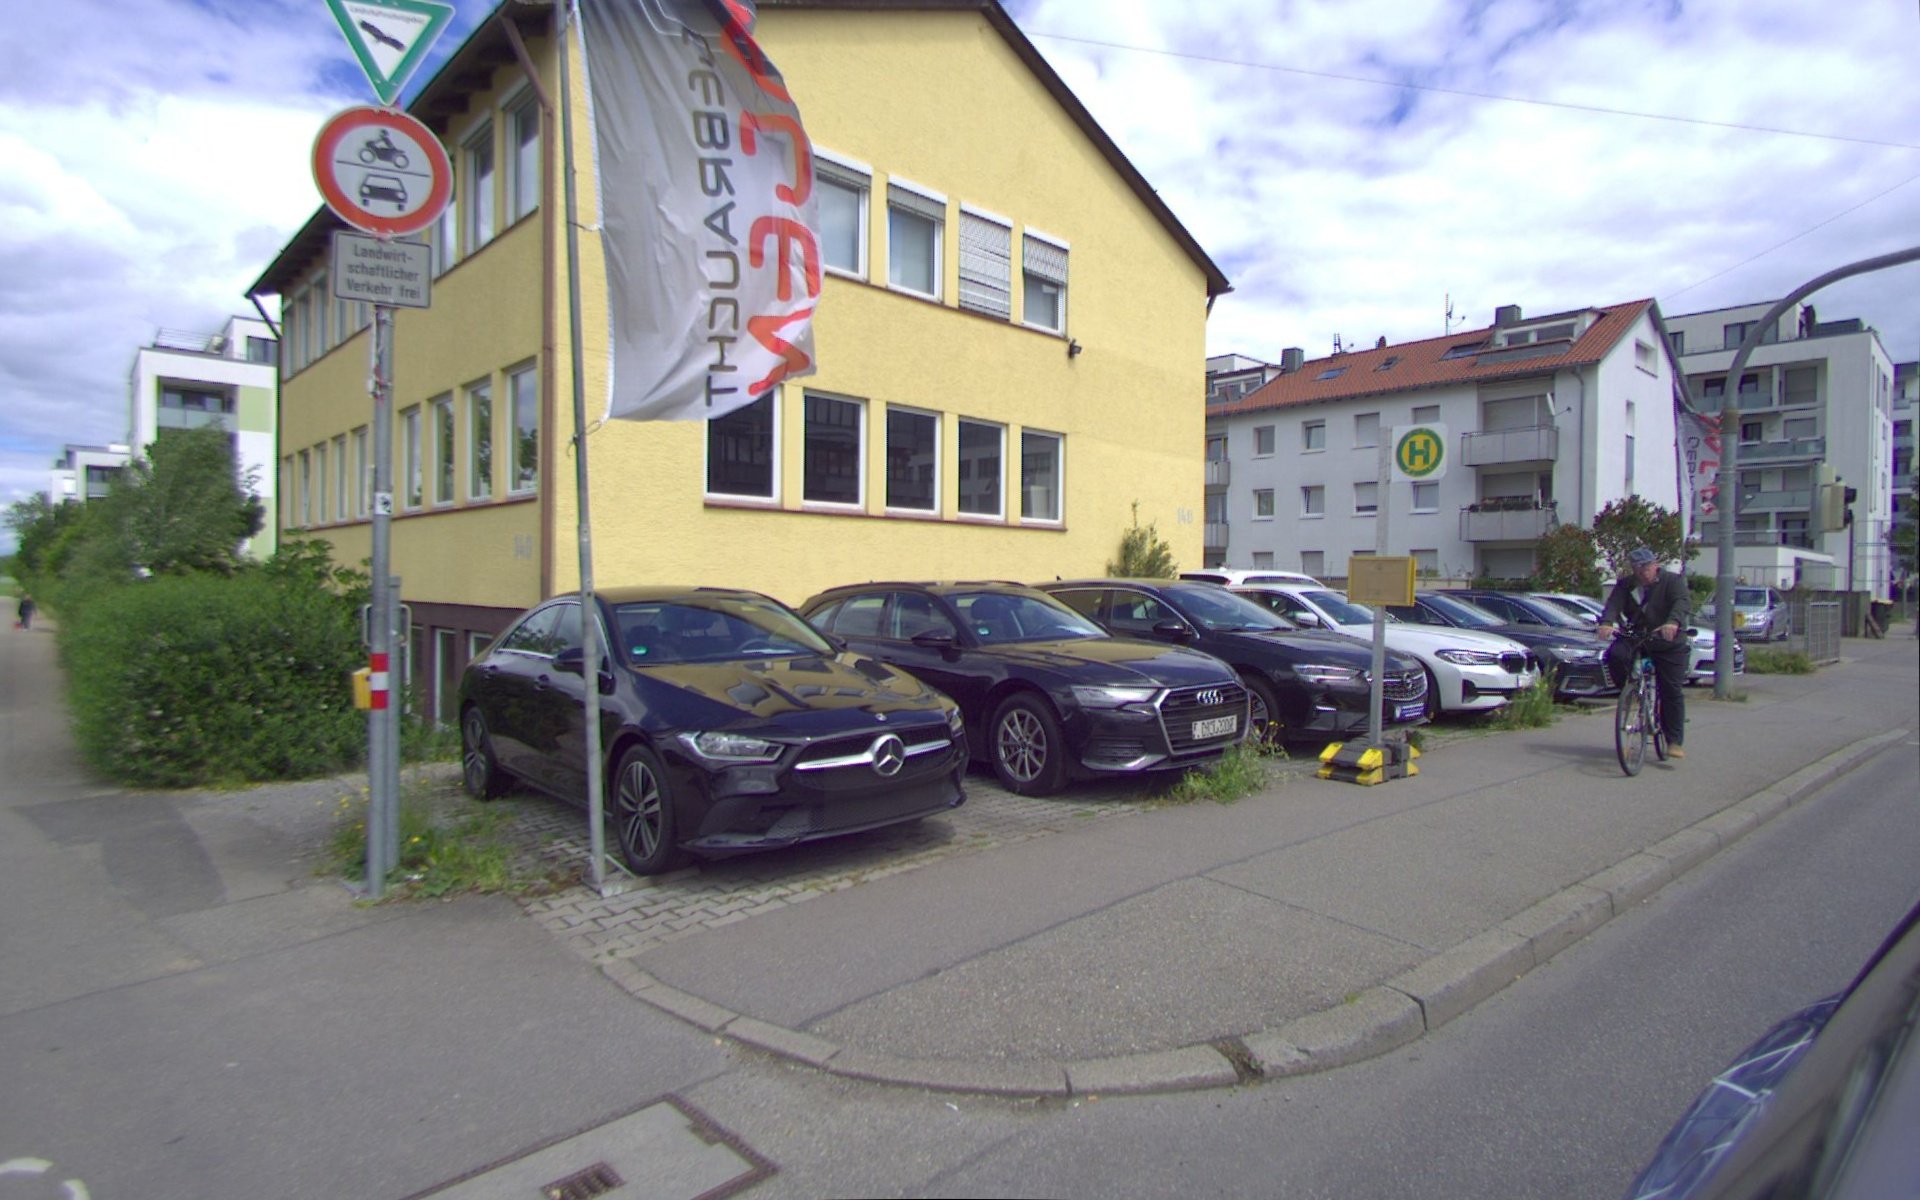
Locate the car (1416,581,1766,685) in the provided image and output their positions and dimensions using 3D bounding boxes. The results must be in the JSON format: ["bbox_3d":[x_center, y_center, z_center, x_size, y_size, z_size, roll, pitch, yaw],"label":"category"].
[{"bbox_3d":[10.567,0.478,17.254,2.010,1.512,4.704,1,0,-41],"label":"car"}]

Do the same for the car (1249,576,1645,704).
[{"bbox_3d":[6.325,0.468,13.536,1.954,1.422,4.374,0,-1,-42],"label":"car"}]

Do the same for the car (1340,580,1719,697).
[{"bbox_3d":[8.494,0.471,15.463,1.999,1.512,4.667,0,0,-41],"label":"car"}]

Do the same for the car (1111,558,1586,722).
[{"bbox_3d":[4.227,0.390,11.769,1.995,1.499,4.810,0,-1,-39],"label":"car"}]

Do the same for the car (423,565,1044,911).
[{"bbox_3d":[-1.731,0.573,6.453,1.970,1.416,4.326,-2,1,-42],"label":"car"}]

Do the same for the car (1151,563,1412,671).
[{"bbox_3d":[6.183,0.219,19.319,4.931,1.844,1.985,-1,2,-31],"label":"car"}]

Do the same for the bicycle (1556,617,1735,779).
[{"bbox_3d":[5.521,0.718,8.101,1.943,1.076,0.639,0,4,-41],"label":"bicycle"}]

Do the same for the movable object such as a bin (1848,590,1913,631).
[{"bbox_3d":[32.462,0.358,35.701,1.225,1.378,1.326,-1,2,-25],"label":"movable object such as a bin"}]

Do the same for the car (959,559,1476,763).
[{"bbox_3d":[2.234,0.472,9.963,1.979,1.512,4.686,0,-1,-39],"label":"car"}]

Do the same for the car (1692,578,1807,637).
[{"bbox_3d":[22.784,0.184,29.138,4.444,1.564,1.878,0,1,-42],"label":"car"}]

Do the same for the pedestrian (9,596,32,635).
[{"bbox_3d":[-39.646,0.659,42.703,0.514,1.601,0.669,-2,-1,42],"label":"pedestrian"}]

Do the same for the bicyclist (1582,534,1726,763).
[{"bbox_3d":[5.531,0.349,8.066,0.874,1.695,0.639,0,4,-41],"label":"bicyclist"}]

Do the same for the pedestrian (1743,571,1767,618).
[{"bbox_3d":[30.530,-0.207,38.868,0.490,1.787,0.509,-1,-1,-24],"label":"pedestrian"}]

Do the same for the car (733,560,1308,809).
[{"bbox_3d":[0.154,0.519,8.422,2.002,1.449,4.860,0,-1,-40],"label":"car"}]
